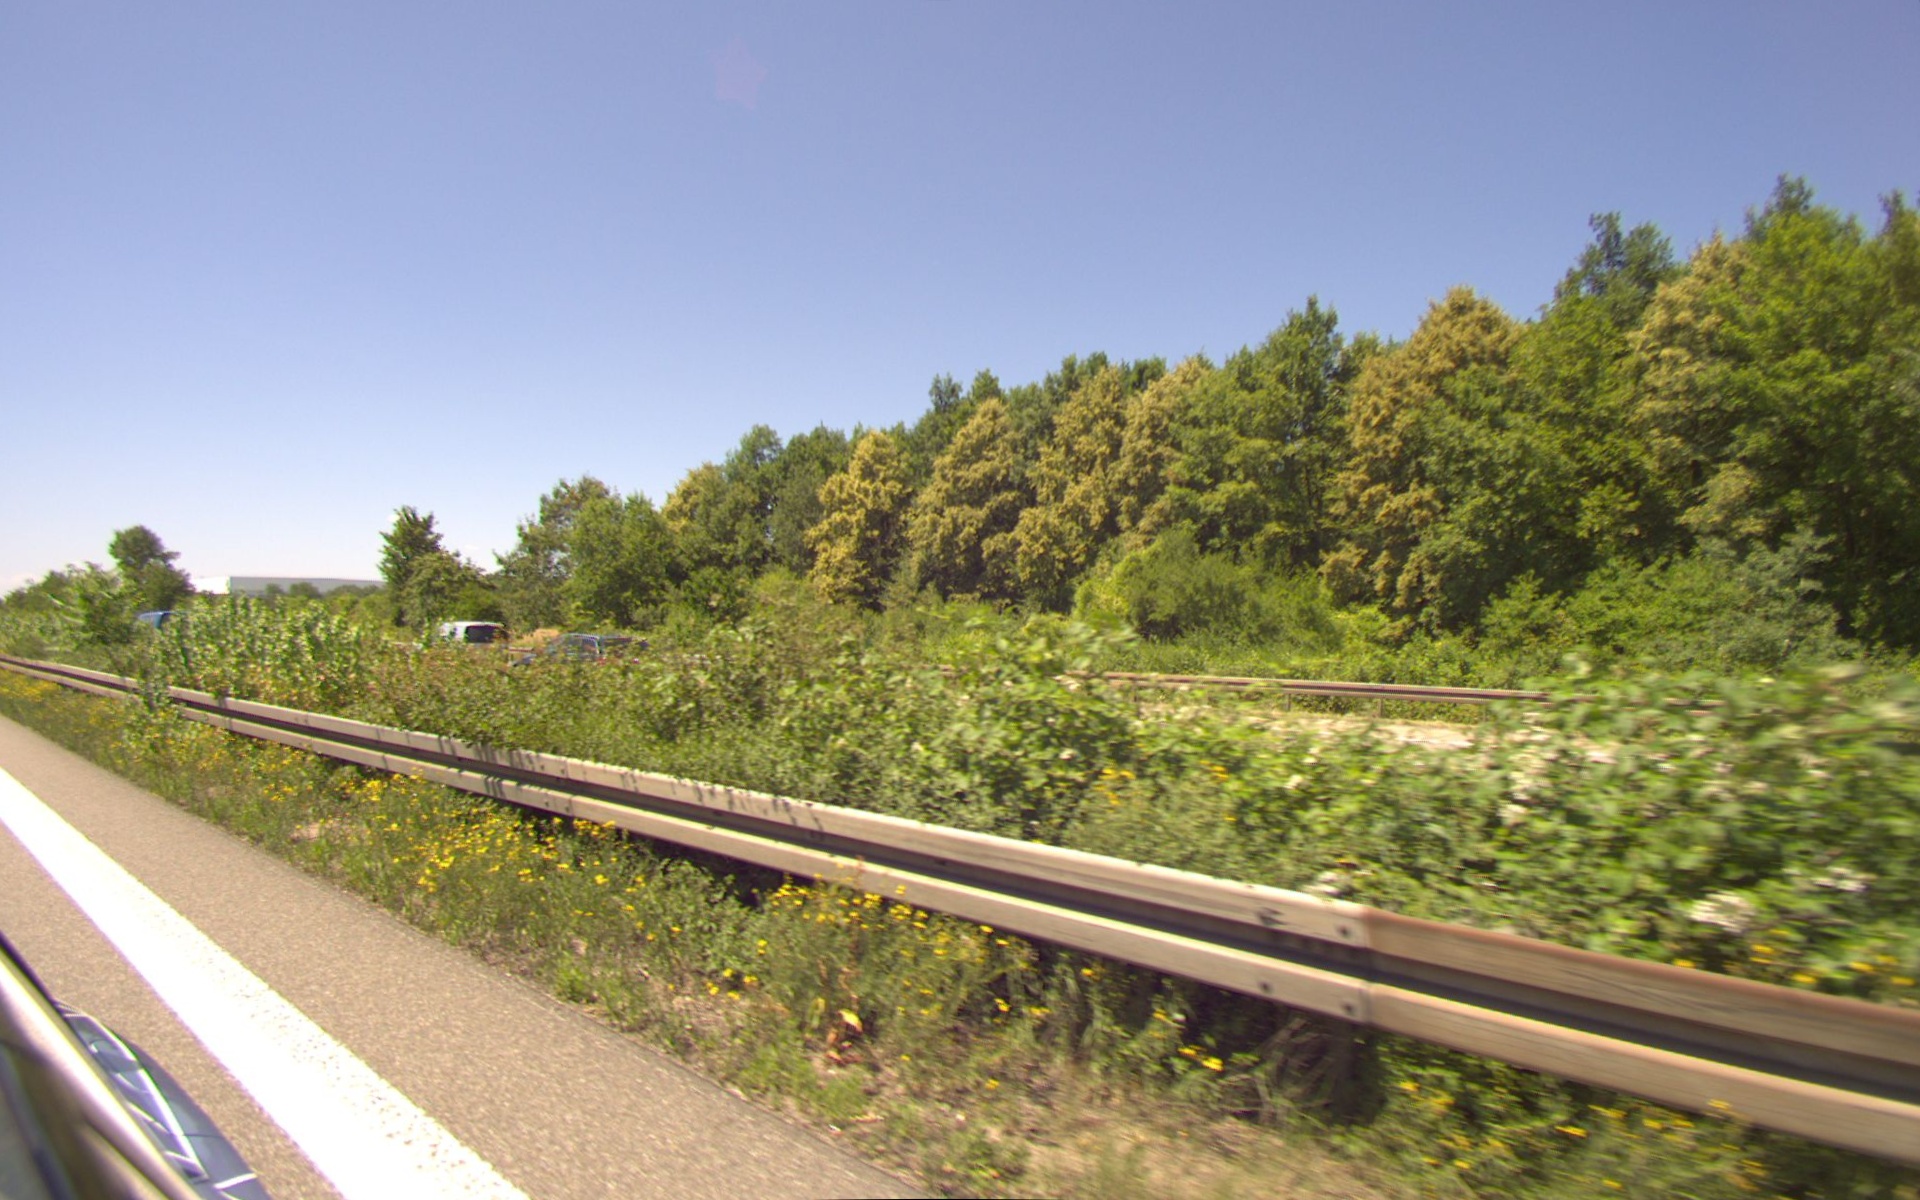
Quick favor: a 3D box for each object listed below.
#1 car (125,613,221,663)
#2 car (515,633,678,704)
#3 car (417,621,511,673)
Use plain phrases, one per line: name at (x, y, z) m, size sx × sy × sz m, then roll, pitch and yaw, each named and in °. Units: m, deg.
car at (-27.720, 1.302, 35.605) m, size 3.998 × 1.663 × 1.930 m, roll -1°, pitch -2°, yaw 41°
car at (-8.306, 1.480, 22.969) m, size 3.998 × 1.439 × 1.775 m, roll -1°, pitch -2°, yaw 41°
car at (-17.901, 1.647, 36.468) m, size 3.623 × 1.770 × 1.775 m, roll -1°, pitch -2°, yaw 41°
